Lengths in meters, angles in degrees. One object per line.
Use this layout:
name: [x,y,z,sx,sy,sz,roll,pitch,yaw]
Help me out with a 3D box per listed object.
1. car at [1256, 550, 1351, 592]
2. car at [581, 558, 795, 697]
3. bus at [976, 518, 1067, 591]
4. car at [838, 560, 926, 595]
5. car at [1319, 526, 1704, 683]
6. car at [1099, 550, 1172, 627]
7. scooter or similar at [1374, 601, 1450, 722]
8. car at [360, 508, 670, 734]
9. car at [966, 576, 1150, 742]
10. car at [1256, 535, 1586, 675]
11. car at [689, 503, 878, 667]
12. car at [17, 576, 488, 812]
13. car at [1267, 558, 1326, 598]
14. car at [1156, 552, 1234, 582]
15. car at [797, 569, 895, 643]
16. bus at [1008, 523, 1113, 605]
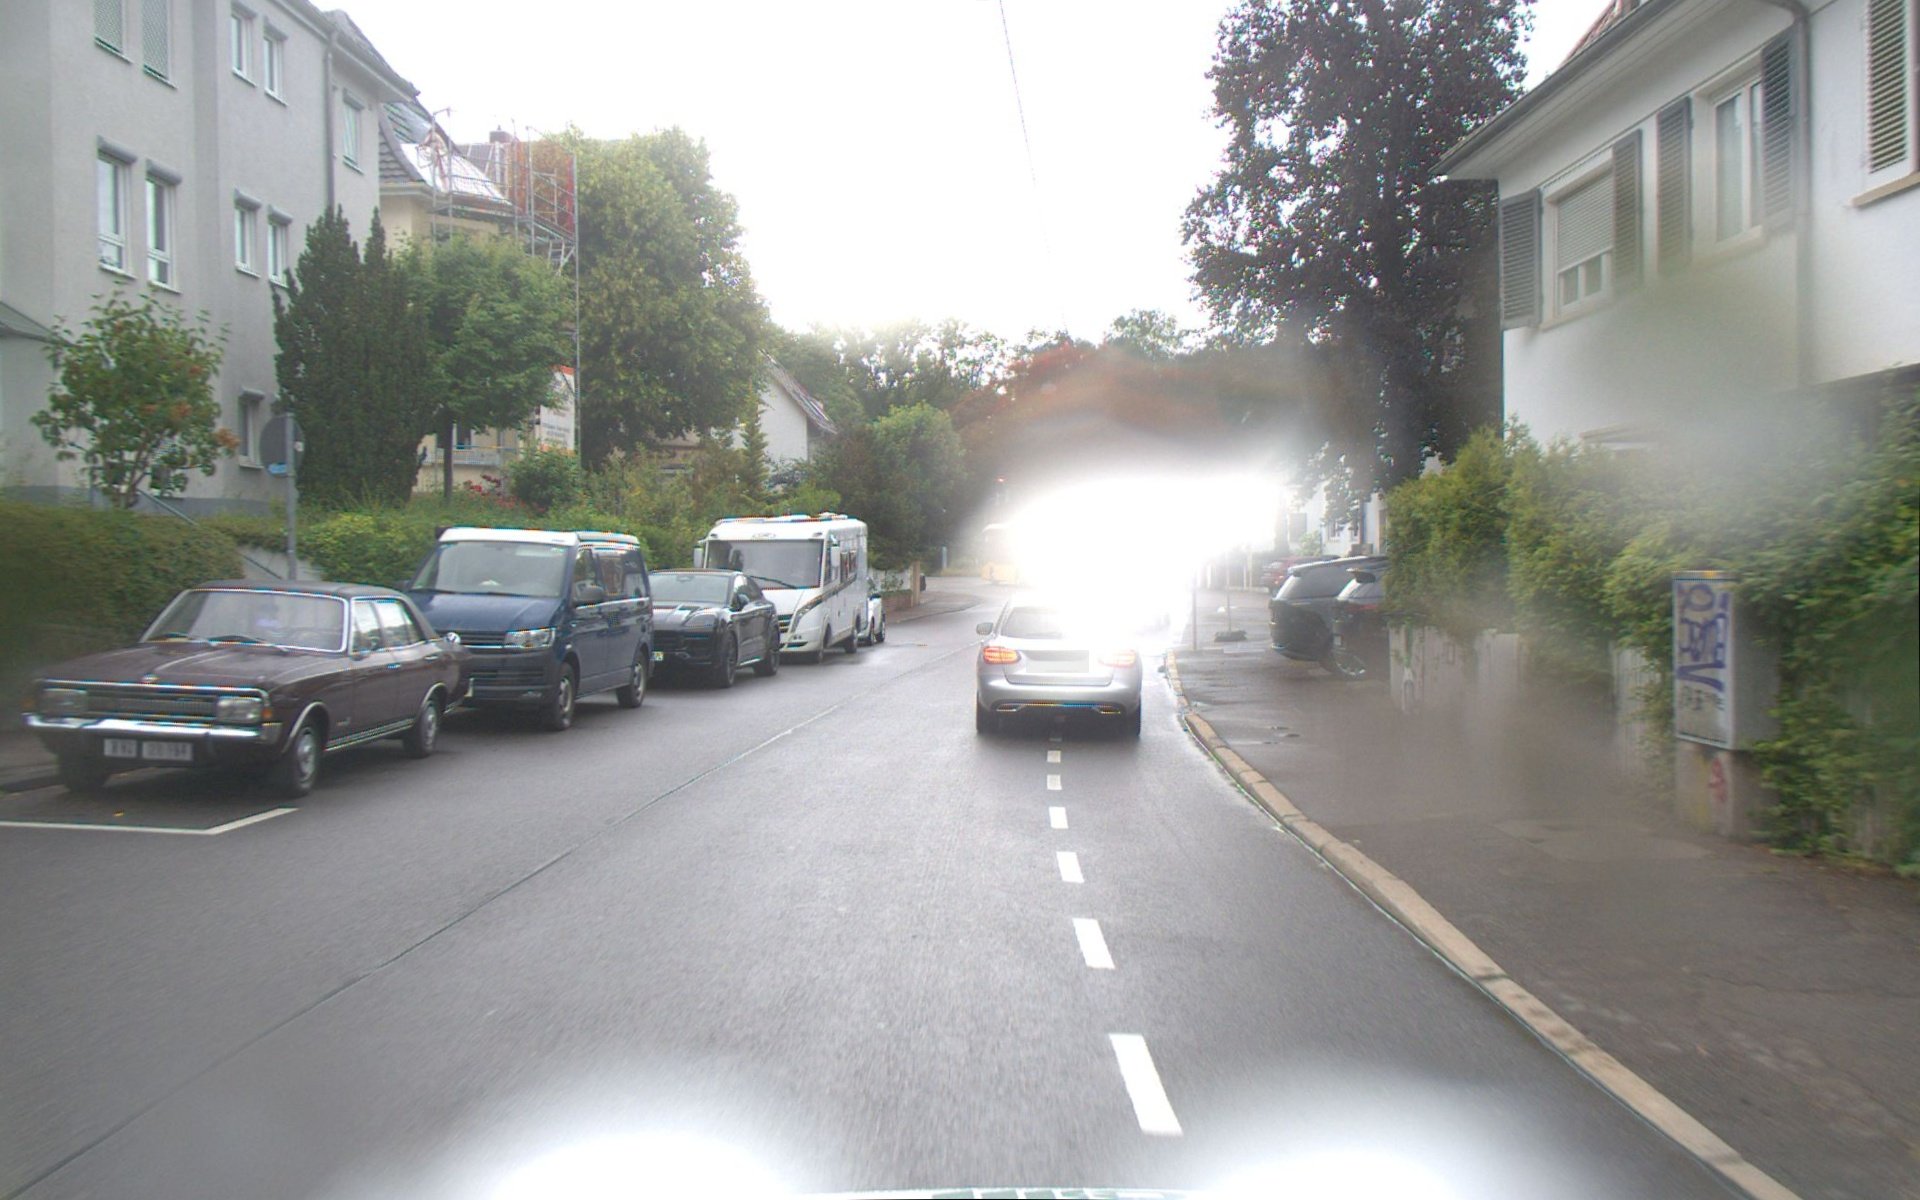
car: [15.731,-1.335,75.940,3.908,1.824,1.758,1,3,-4]
car: [-3.897,0.303,24.566,1.951,1.717,4.681,1,3,6]
bus: [3.223,-2.607,90.627,2.875,3.714,10.281,1,3,-10]
car: [-3.544,-1.018,75.251,3.908,1.444,1.886,1,3,-3]
car: [7.407,0.048,22.599,4.565,1.844,2.001,-3,1,3]
car: [4.627,-0.306,44.026,1.804,1.937,4.002,1,0,5]
scooter or similar: [4.834,0.629,17.768,0.446,1.221,1.867,1,0,5]
car: [-4.640,0.185,18.094,1.791,2.092,5.011,1,0,3]
car: [1.077,0.552,18.365,1.778,1.583,4.002,1,1,3]
car: [7.089,0.062,25.821,4.565,1.907,2.001,-3,1,3]
car: [-3.263,-0.395,32.220,2.340,2.820,6.537,1,2,5]
car: [-5.098,0.558,12.679,1.610,1.442,4.613,1,1,0]
car: [13.432,-0.901,66.123,1.185,1.476,3.013,1,3,-13]
car: [13.075,-1.843,92.230,3.917,1.557,1.754,1,3,-13]
car: [-2.552,0.101,37.780,1.676,1.472,3.258,1,3,6]
bus: [4.809,-1.897,81.655,2.875,3.714,10.147,1,3,-10]
